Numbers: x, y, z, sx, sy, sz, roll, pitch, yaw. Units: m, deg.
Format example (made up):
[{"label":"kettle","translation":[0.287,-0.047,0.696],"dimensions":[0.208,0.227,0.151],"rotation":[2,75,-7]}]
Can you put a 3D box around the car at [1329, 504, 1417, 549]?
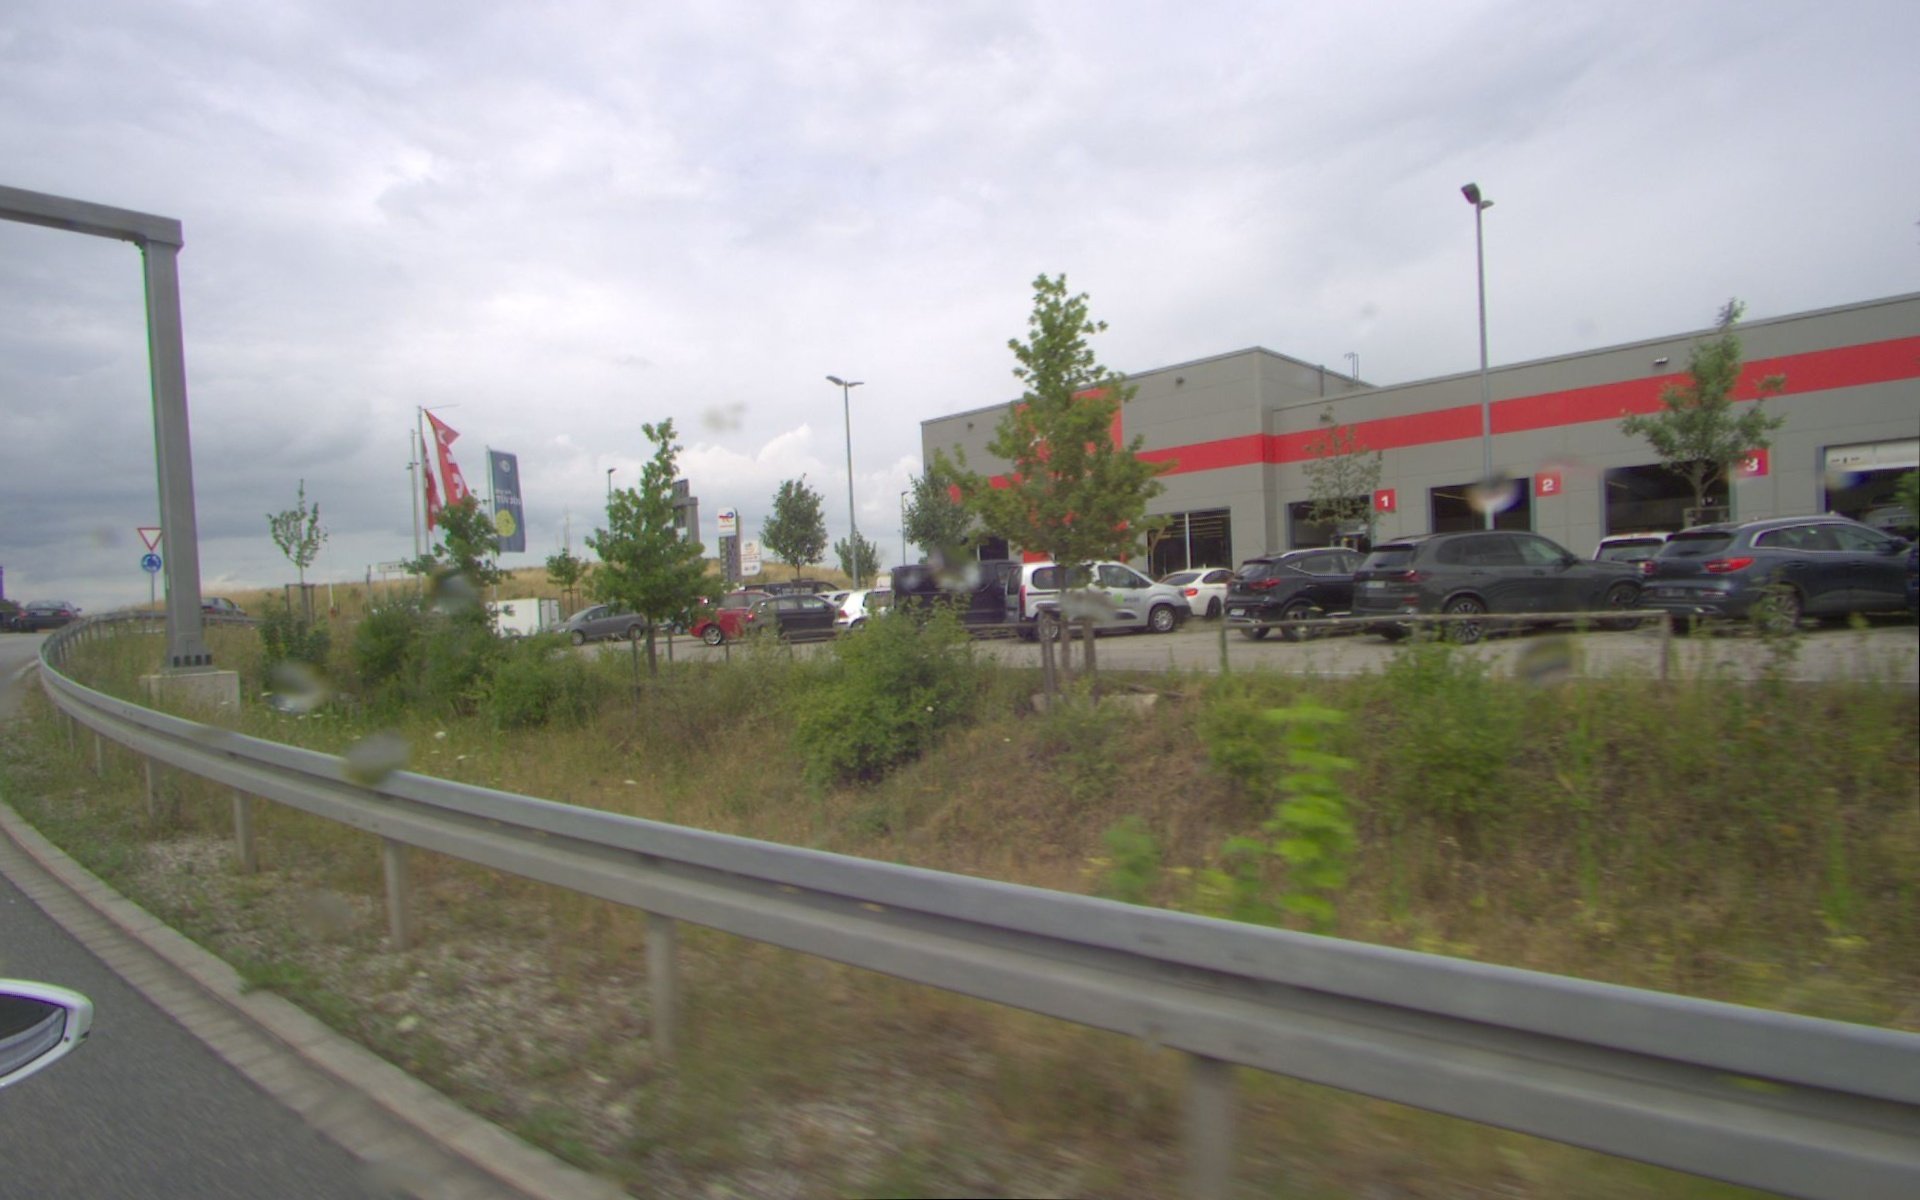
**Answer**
[{"label":"car","translation":[15.766,-2.753,38.172],"dimensions":[1.778,1.536,3.875],"rotation":[2,3,45]}]

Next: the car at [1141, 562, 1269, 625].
[{"label":"car","translation":[6.628,-0.196,26.840],"dimensions":[1.579,1.408,3.930],"rotation":[-2,3,43]}]

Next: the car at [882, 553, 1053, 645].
[{"label":"car","translation":[0.126,-0.027,25.341],"dimensions":[4.049,1.976,1.880],"rotation":[-4,1,-6]}]

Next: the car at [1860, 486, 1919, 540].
[{"label":"car","translation":[26.555,-2.419,28.183],"dimensions":[1.645,1.241,3.875],"rotation":[-2,0,45]}]

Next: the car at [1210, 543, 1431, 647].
[{"label":"car","translation":[6.827,-0.125,19.037],"dimensions":[3.641,1.652,1.646],"rotation":[-4,2,-16]}]

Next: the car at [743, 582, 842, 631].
[{"label":"car","translation":[-6.393,0.229,38.488],"dimensions":[1.577,1.759,3.581],"rotation":[-2,0,40]}]

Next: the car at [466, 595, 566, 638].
[{"label":"car","translation":[-18.884,0.694,42.651],"dimensions":[3.515,1.647,1.644],"rotation":[-2,1,10]}]

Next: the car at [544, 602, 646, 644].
[{"label":"car","translation":[-14.980,0.920,41.217],"dimensions":[1.488,1.502,3.641],"rotation":[-3,0,43]}]

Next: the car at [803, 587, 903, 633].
[{"label":"car","translation":[-3.951,0.343,37.313],"dimensions":[1.577,1.598,3.581],"rotation":[-2,0,40]}]

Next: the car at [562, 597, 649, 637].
[{"label":"car","translation":[-16.347,0.795,46.227],"dimensions":[3.522,1.716,1.641],"rotation":[-2,1,21]}]

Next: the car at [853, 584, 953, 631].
[{"label":"car","translation":[-2.034,0.248,36.375],"dimensions":[1.577,1.556,3.581],"rotation":[-2,0,40]}]

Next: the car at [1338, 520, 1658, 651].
[{"label":"car","translation":[8.850,-0.261,16.606],"dimensions":[4.465,1.757,1.830],"rotation":[-4,2,-10]}]

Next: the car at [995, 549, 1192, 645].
[{"label":"car","translation":[3.063,-0.099,23.351],"dimensions":[4.114,1.867,1.830],"rotation":[-4,2,-11]}]

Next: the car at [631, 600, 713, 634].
[{"label":"car","translation":[-14.253,0.839,49.535],"dimensions":[3.596,1.568,1.691],"rotation":[-2,1,21]}]

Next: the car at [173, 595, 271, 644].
[{"label":"car","translation":[-30.192,0.760,41.111],"dimensions":[1.628,1.862,3.952],"rotation":[-2,1,-11]}]

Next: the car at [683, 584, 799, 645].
[{"label":"car","translation":[-6.916,0.424,31.849],"dimensions":[3.396,1.646,1.549],"rotation":[-4,2,-8]}]

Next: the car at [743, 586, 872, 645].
[{"label":"car","translation":[-4.476,0.435,29.578],"dimensions":[3.568,1.439,1.613],"rotation":[-4,2,-8]}]

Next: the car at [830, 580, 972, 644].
[{"label":"car","translation":[-1.650,0.303,27.537],"dimensions":[3.688,1.461,1.592],"rotation":[-4,2,-7]}]

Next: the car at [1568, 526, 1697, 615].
[{"label":"car","translation":[13.740,-0.633,20.376],"dimensions":[1.579,1.581,3.734],"rotation":[-2,3,43]}]

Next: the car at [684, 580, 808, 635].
[{"label":"car","translation":[-8.510,0.304,40.253],"dimensions":[1.887,2.080,4.781],"rotation":[-2,-1,38]}]

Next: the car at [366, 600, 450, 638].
[{"label":"car","translation":[-32.631,1.092,59.254],"dimensions":[4.004,2.041,1.780],"rotation":[-3,2,-40]}]

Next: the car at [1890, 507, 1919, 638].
[{"label":"car","translation":[14.058,-0.467,12.408],"dimensions":[3.693,1.660,1.667],"rotation":[-4,1,-6]}]

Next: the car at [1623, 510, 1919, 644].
[{"label":"car","translation":[12.010,-0.358,14.508],"dimensions":[3.735,1.629,1.757],"rotation":[-4,2,-7]}]

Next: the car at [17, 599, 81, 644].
[{"label":"car","translation":[-39.720,0.935,43.739],"dimensions":[1.881,1.807,4.120],"rotation":[-3,1,-41]}]
